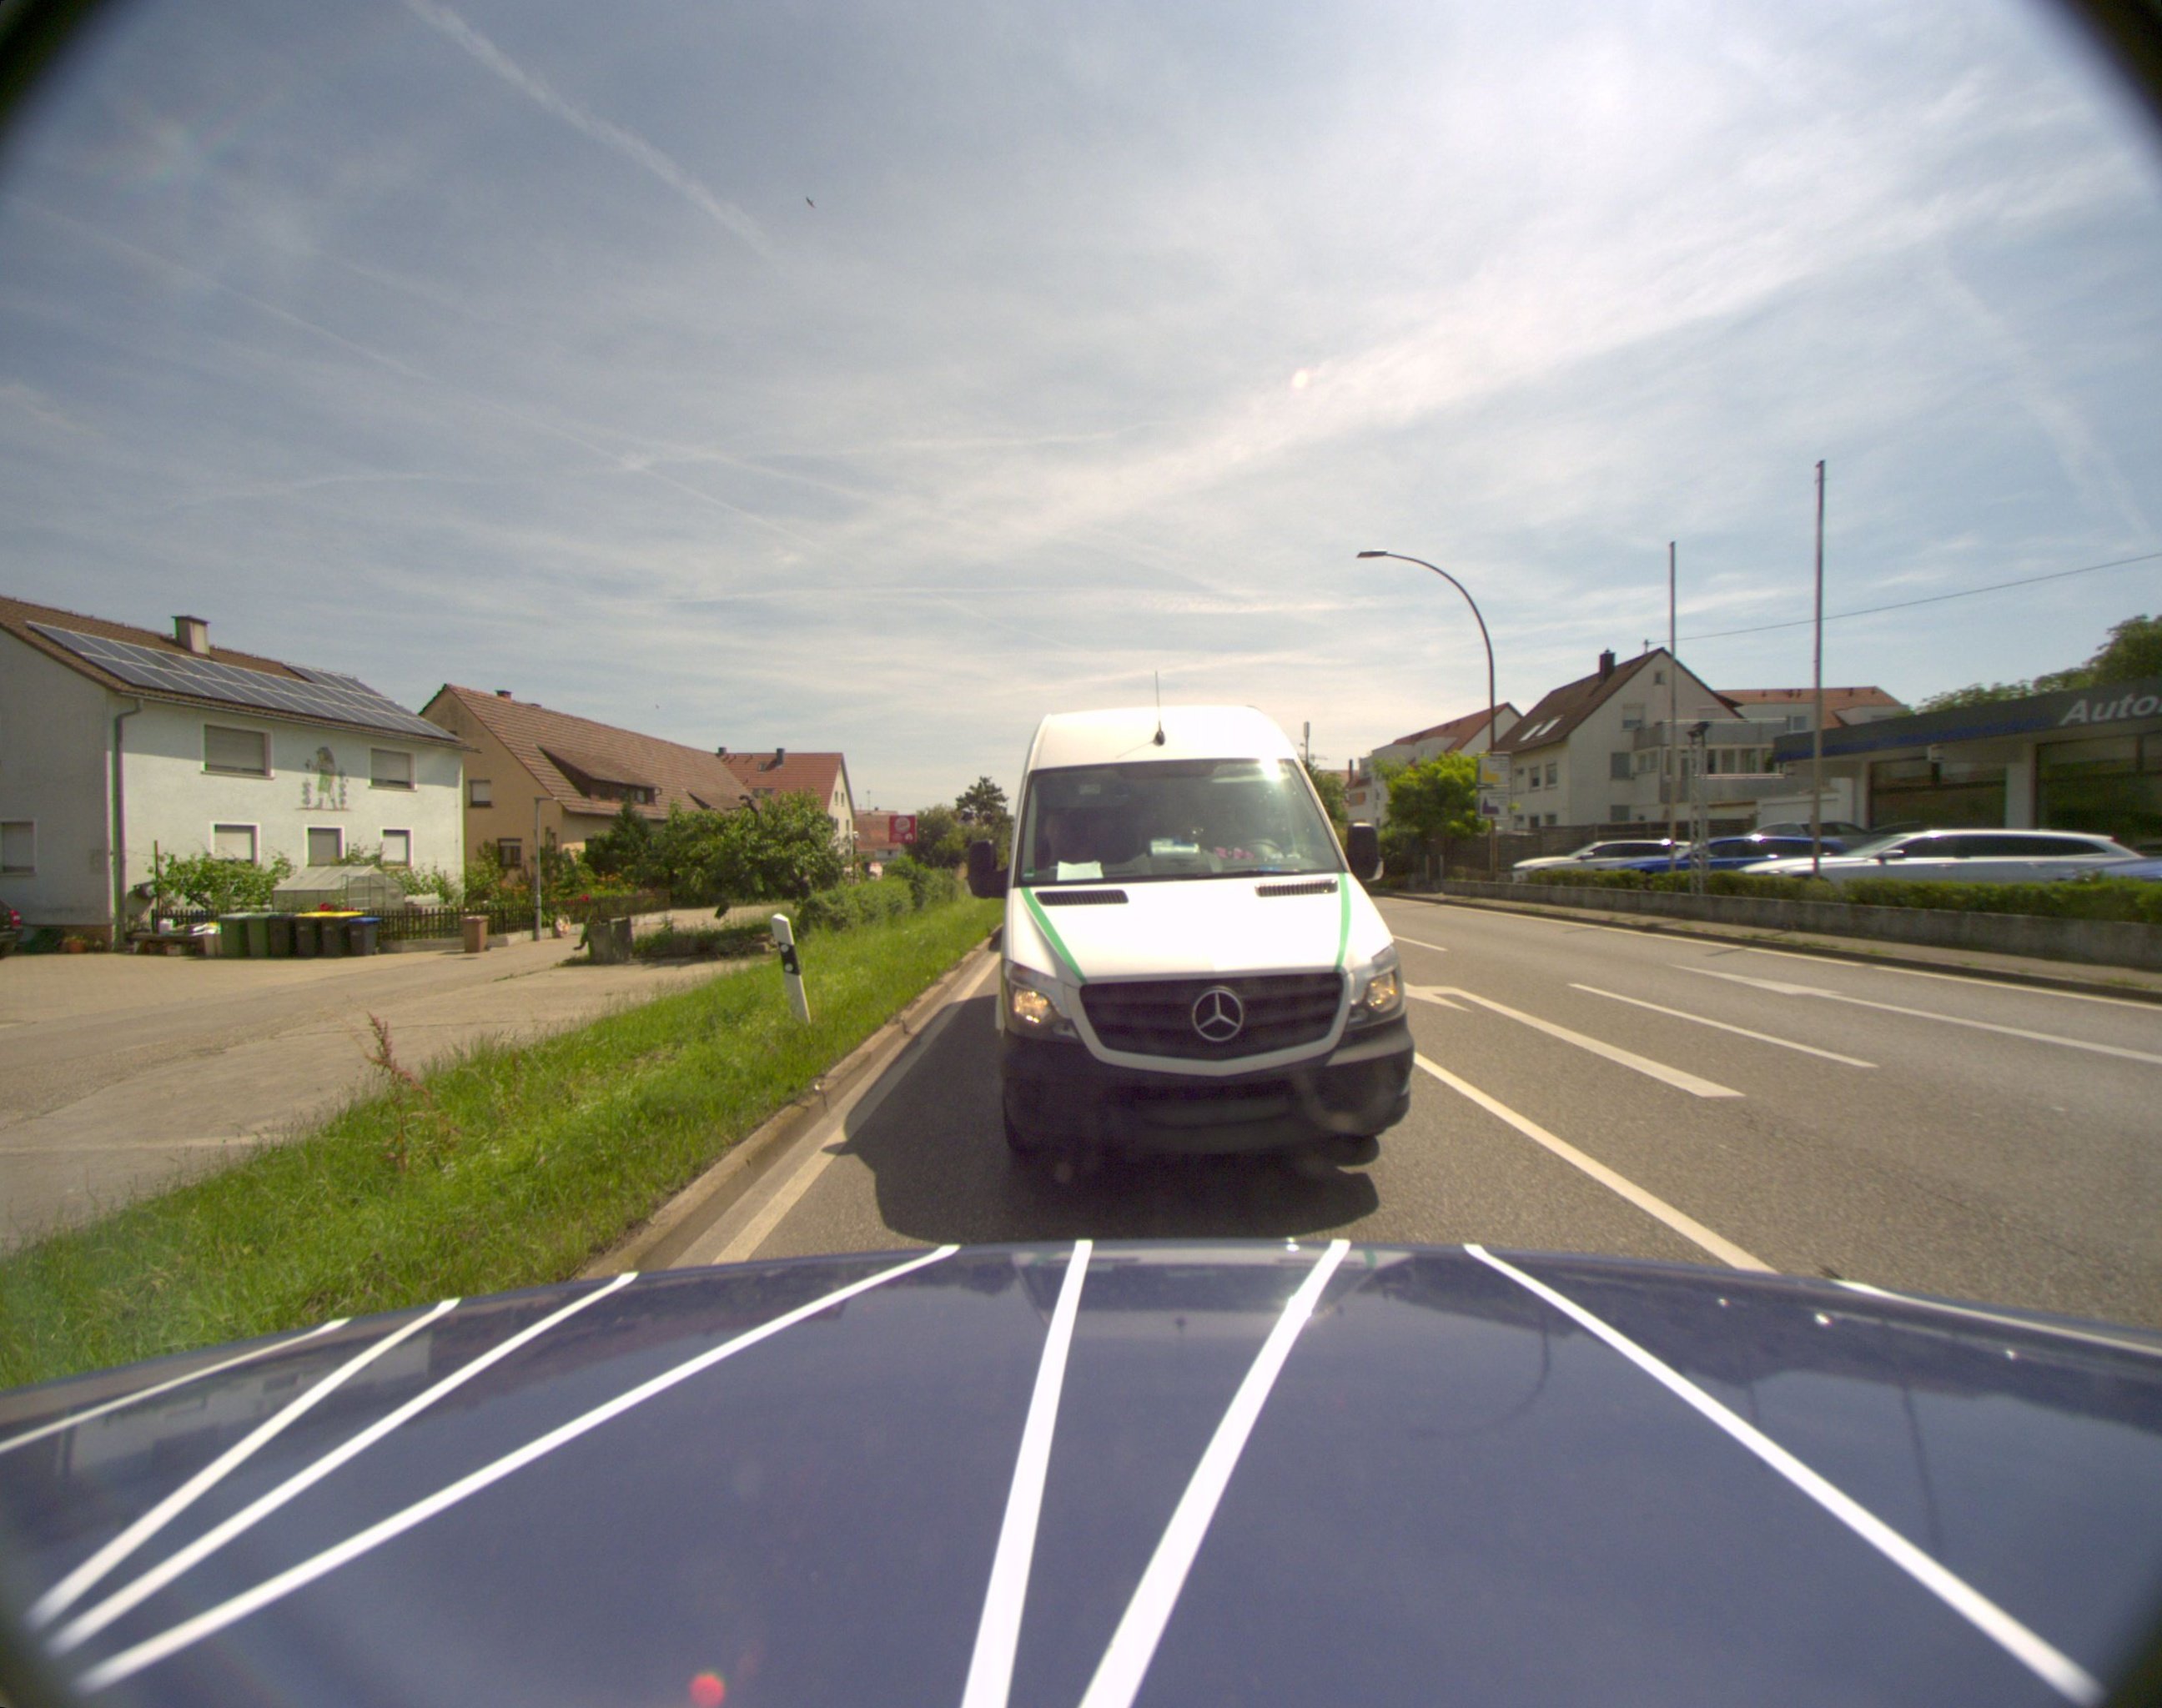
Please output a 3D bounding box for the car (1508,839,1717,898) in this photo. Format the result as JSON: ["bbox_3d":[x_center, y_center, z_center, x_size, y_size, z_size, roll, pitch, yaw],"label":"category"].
[{"bbox_3d":[14.530,0.412,21.131,4.568,1.439,1.860,-2,1,29],"label":"car"}]

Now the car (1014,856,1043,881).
[{"bbox_3d":[-3.453,0.926,50.125,1.636,1.476,3.551,-4,1,-1],"label":"car"}]

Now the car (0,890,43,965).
[{"bbox_3d":[-26.749,1.720,17.245,3.957,1.683,1.844,0,1,3],"label":"car"}]

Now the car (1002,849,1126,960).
[{"bbox_3d":[-0.276,0.804,14.441,1.884,1.652,4.625,-4,0,0],"label":"car"}]

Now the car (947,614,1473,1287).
[{"bbox_3d":[0.495,0.363,5.767,1.939,2.514,5.748,-2,0,0],"label":"car"}]

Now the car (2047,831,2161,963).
[{"bbox_3d":[14.550,0.418,8.448,4.331,1.439,1.860,-2,1,27],"label":"car"}]

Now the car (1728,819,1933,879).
[{"bbox_3d":[20.901,-0.150,21.514,1.807,1.456,4.585,-2,0,10],"label":"car"}]

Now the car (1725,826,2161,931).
[{"bbox_3d":[14.117,0.435,12.922,4.505,1.439,1.860,-4,0,30],"label":"car"}]

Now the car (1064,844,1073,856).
[{"bbox_3d":[-2.843,-0.996,177.743,1.998,2.574,3.999,-2,1,0],"label":"car"}]

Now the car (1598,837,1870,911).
[{"bbox_3d":[14.337,0.443,17.057,4.331,1.439,1.860,-2,1,29],"label":"car"}]
